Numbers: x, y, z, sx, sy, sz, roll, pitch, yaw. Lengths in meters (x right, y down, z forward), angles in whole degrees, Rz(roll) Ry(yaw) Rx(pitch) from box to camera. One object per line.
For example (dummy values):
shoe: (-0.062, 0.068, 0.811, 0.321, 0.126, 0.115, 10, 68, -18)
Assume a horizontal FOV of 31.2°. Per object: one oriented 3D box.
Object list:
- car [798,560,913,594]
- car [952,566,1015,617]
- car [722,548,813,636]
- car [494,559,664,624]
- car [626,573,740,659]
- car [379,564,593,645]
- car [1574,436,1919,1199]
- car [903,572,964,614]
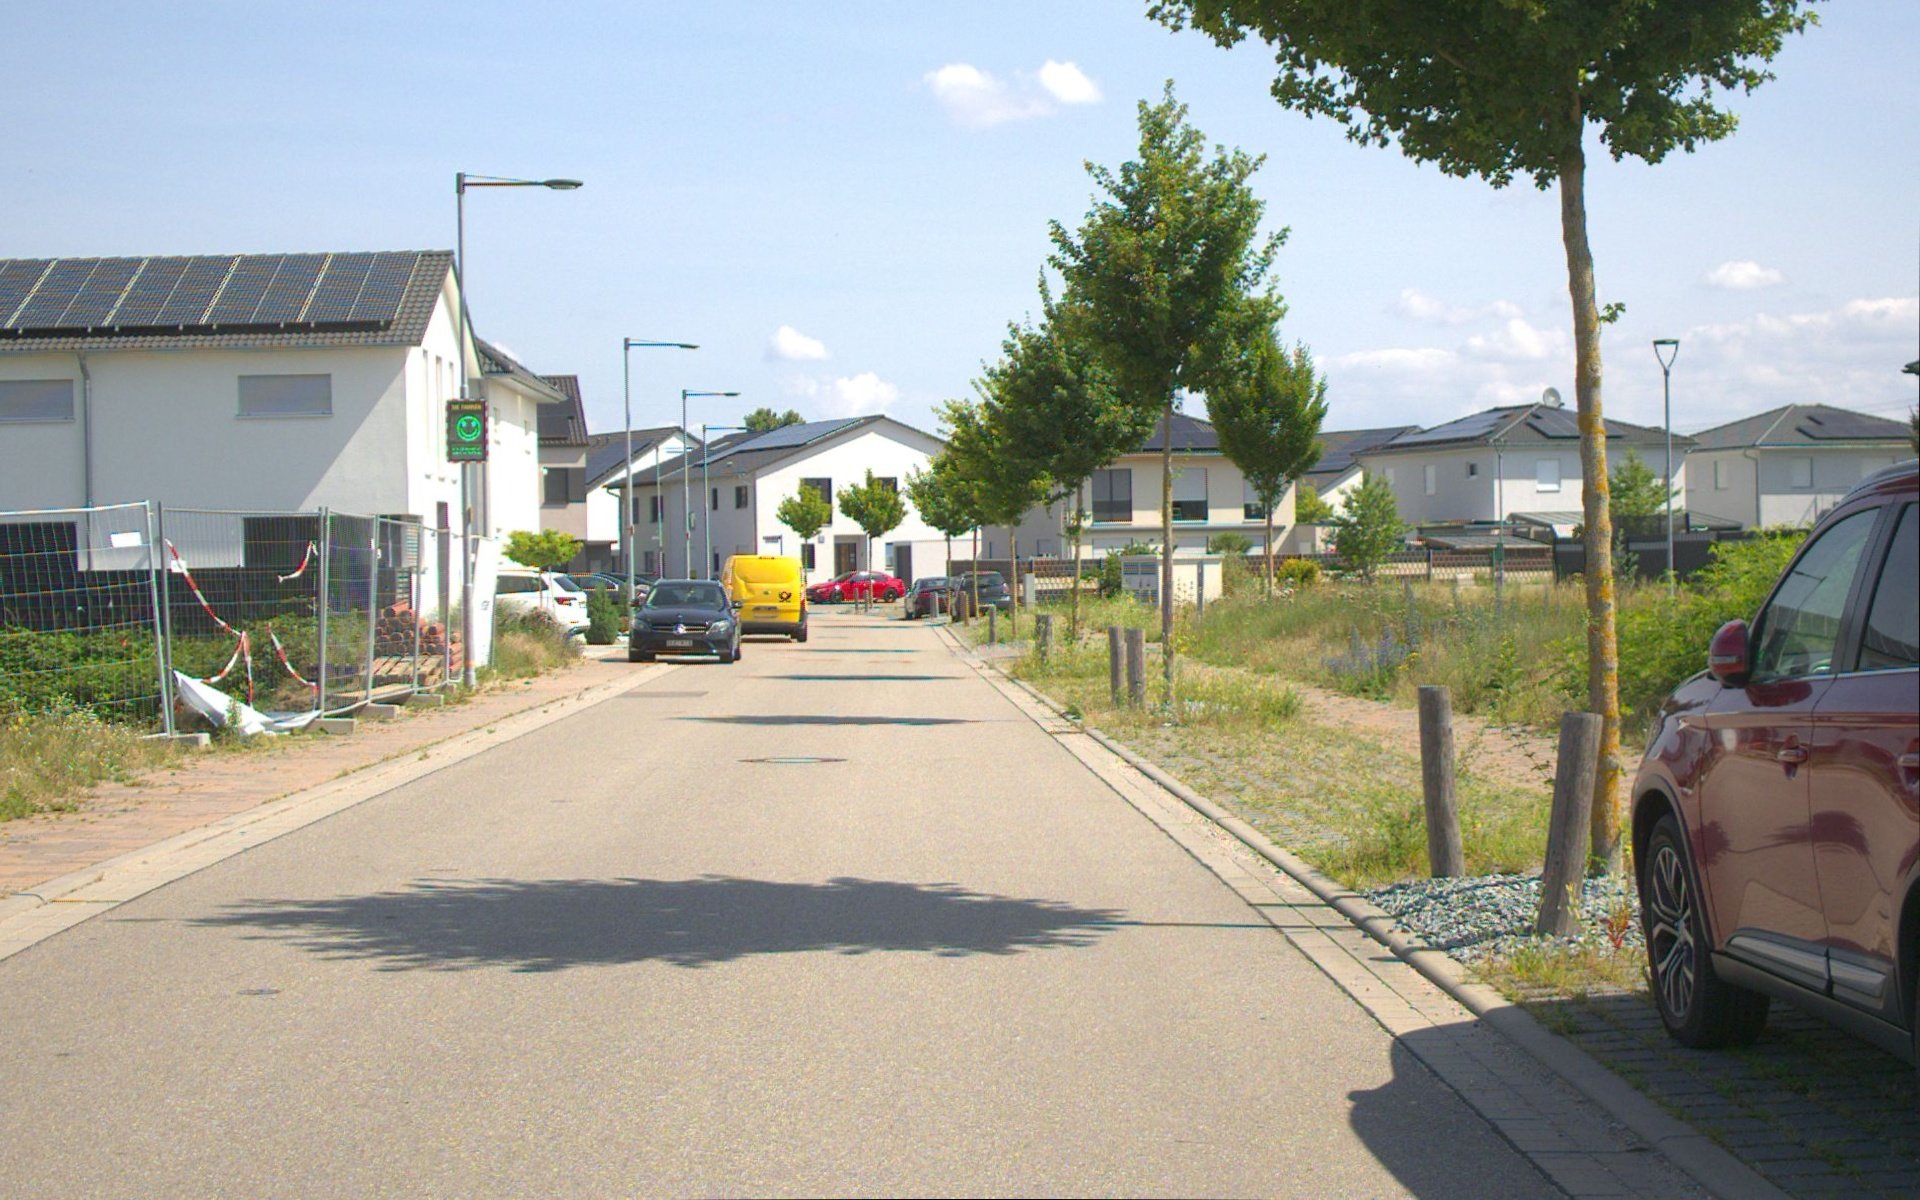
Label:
car: (-4.580, -0.996, 151.235, 4.685, 1.427, 2.000, 0, -1, -31)
car: (0.682, -0.236, 100.587, 1.639, 1.398, 3.811, -1, -1, -2)
car: (-4.531, -0.165, 80.438, 1.941, 1.975, 4.217, -1, 0, -5)
car: (-10.097, -0.226, 91.094, 4.159, 1.499, 1.816, 3, -1, -17)
car: (-4.826, 0.256, 60.307, 1.745, 1.400, 4.160, 1, 1, -2)
car: (-9.723, 0.080, 70.721, 4.069, 1.576, 1.784, 0, 1, 5)
car: (2.908, 0.424, 8.540, 1.777, 1.657, 4.434, -2, 1, -2)
car: (-0.937, -0.241, 119.181, 1.627, 1.318, 3.834, -1, -2, -8)
